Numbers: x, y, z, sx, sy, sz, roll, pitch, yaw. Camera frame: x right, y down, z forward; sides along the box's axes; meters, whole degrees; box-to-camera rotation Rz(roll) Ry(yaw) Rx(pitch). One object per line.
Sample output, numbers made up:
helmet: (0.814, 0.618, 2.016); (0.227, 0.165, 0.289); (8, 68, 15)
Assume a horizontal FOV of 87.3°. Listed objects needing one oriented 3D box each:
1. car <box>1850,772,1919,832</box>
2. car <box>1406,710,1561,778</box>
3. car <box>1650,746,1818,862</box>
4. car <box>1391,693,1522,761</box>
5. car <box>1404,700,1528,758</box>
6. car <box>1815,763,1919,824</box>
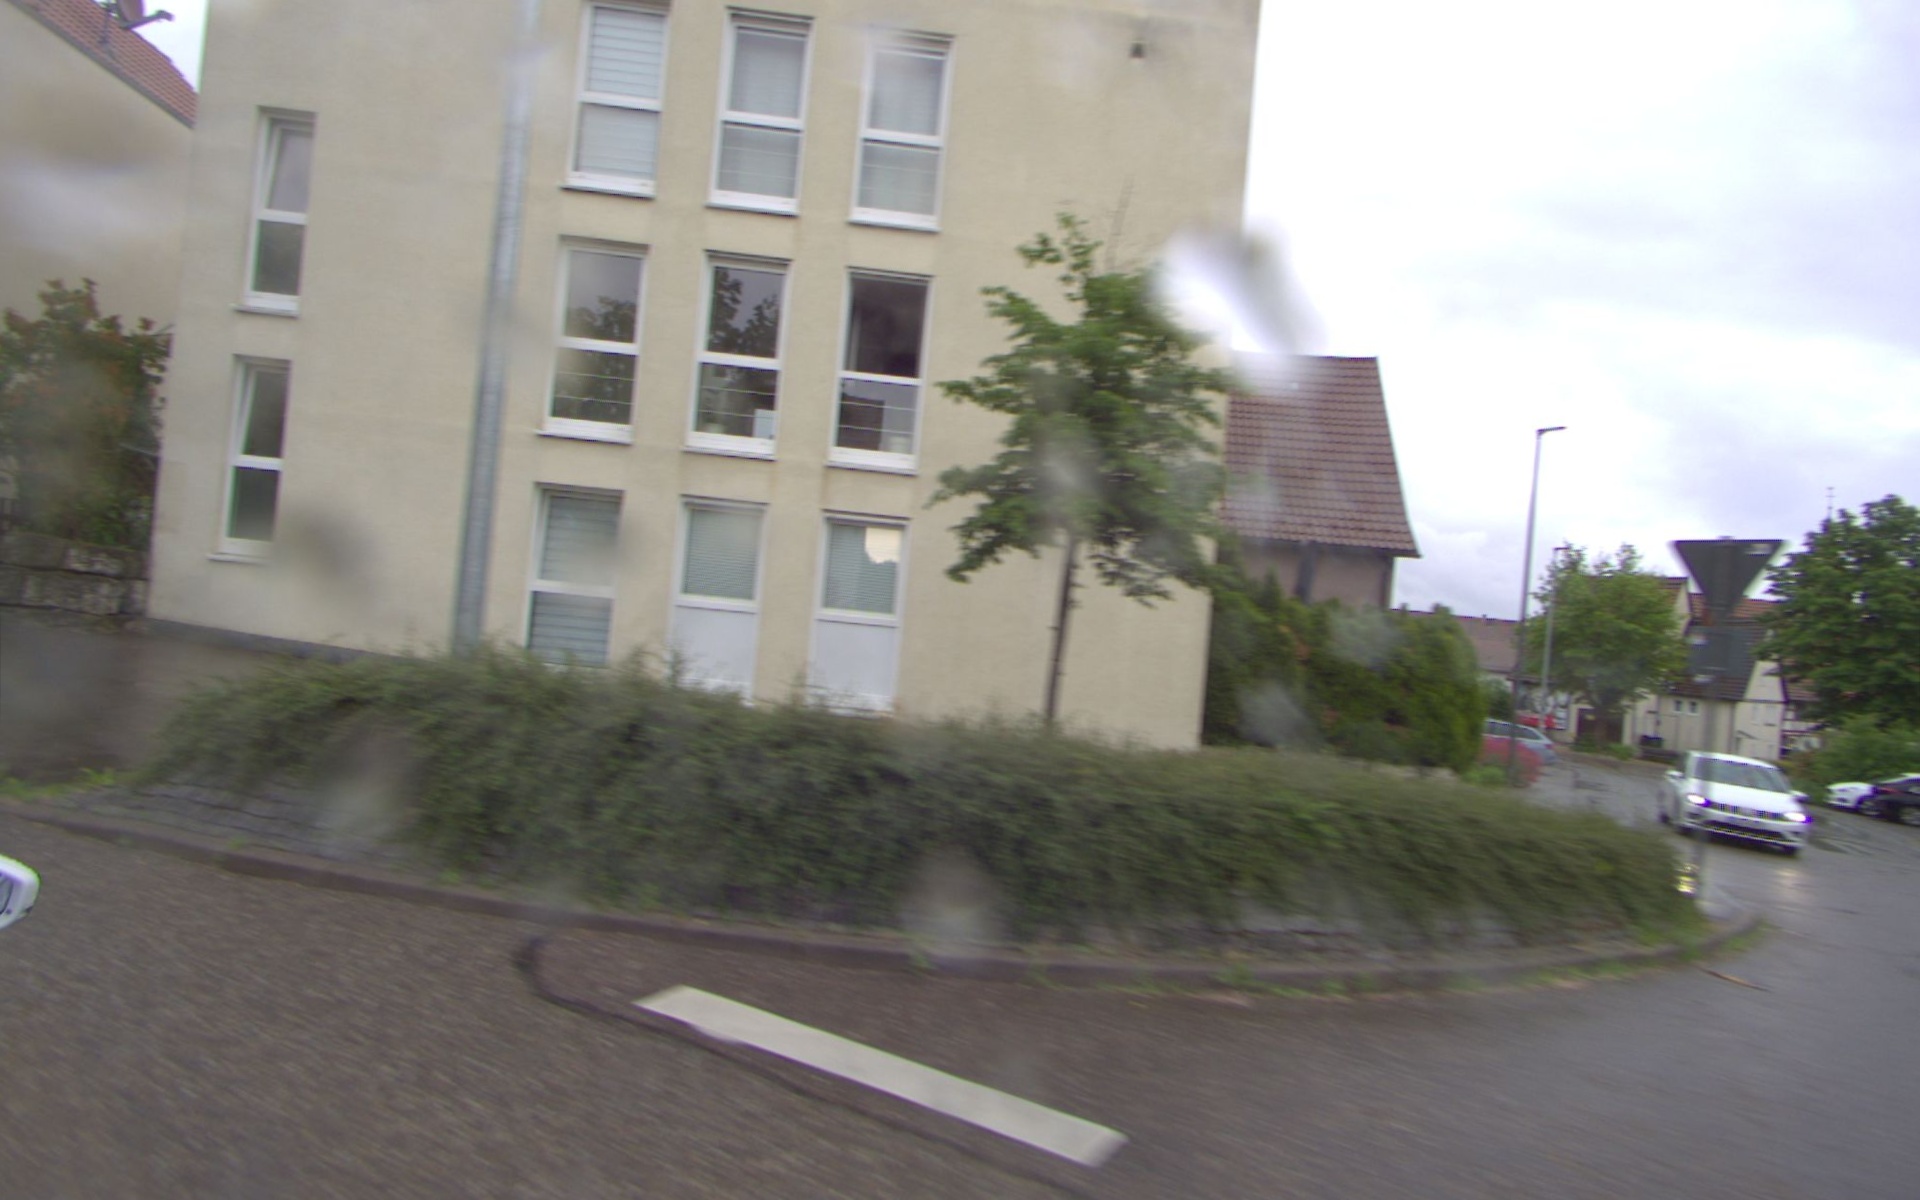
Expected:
car: (31.066, 6.634, 31.842); (3.935, 1.569, 1.997); (6, -3, 33)
car: (16.987, 4.662, 32.816); (3.924, 1.473, 1.949); (8, -2, 6)
car: (14.242, 3.673, 18.748); (1.727, 1.553, 4.148); (6, -3, 29)
car: (18.808, 4.796, 38.241); (3.924, 1.903, 1.842); (7, -2, 8)
car: (20.608, 5.234, 41.131); (3.924, 1.716, 2.003); (7, -2, 6)
car: (32.187, 6.725, 34.164); (4.410, 1.569, 1.997); (6, -3, 33)
